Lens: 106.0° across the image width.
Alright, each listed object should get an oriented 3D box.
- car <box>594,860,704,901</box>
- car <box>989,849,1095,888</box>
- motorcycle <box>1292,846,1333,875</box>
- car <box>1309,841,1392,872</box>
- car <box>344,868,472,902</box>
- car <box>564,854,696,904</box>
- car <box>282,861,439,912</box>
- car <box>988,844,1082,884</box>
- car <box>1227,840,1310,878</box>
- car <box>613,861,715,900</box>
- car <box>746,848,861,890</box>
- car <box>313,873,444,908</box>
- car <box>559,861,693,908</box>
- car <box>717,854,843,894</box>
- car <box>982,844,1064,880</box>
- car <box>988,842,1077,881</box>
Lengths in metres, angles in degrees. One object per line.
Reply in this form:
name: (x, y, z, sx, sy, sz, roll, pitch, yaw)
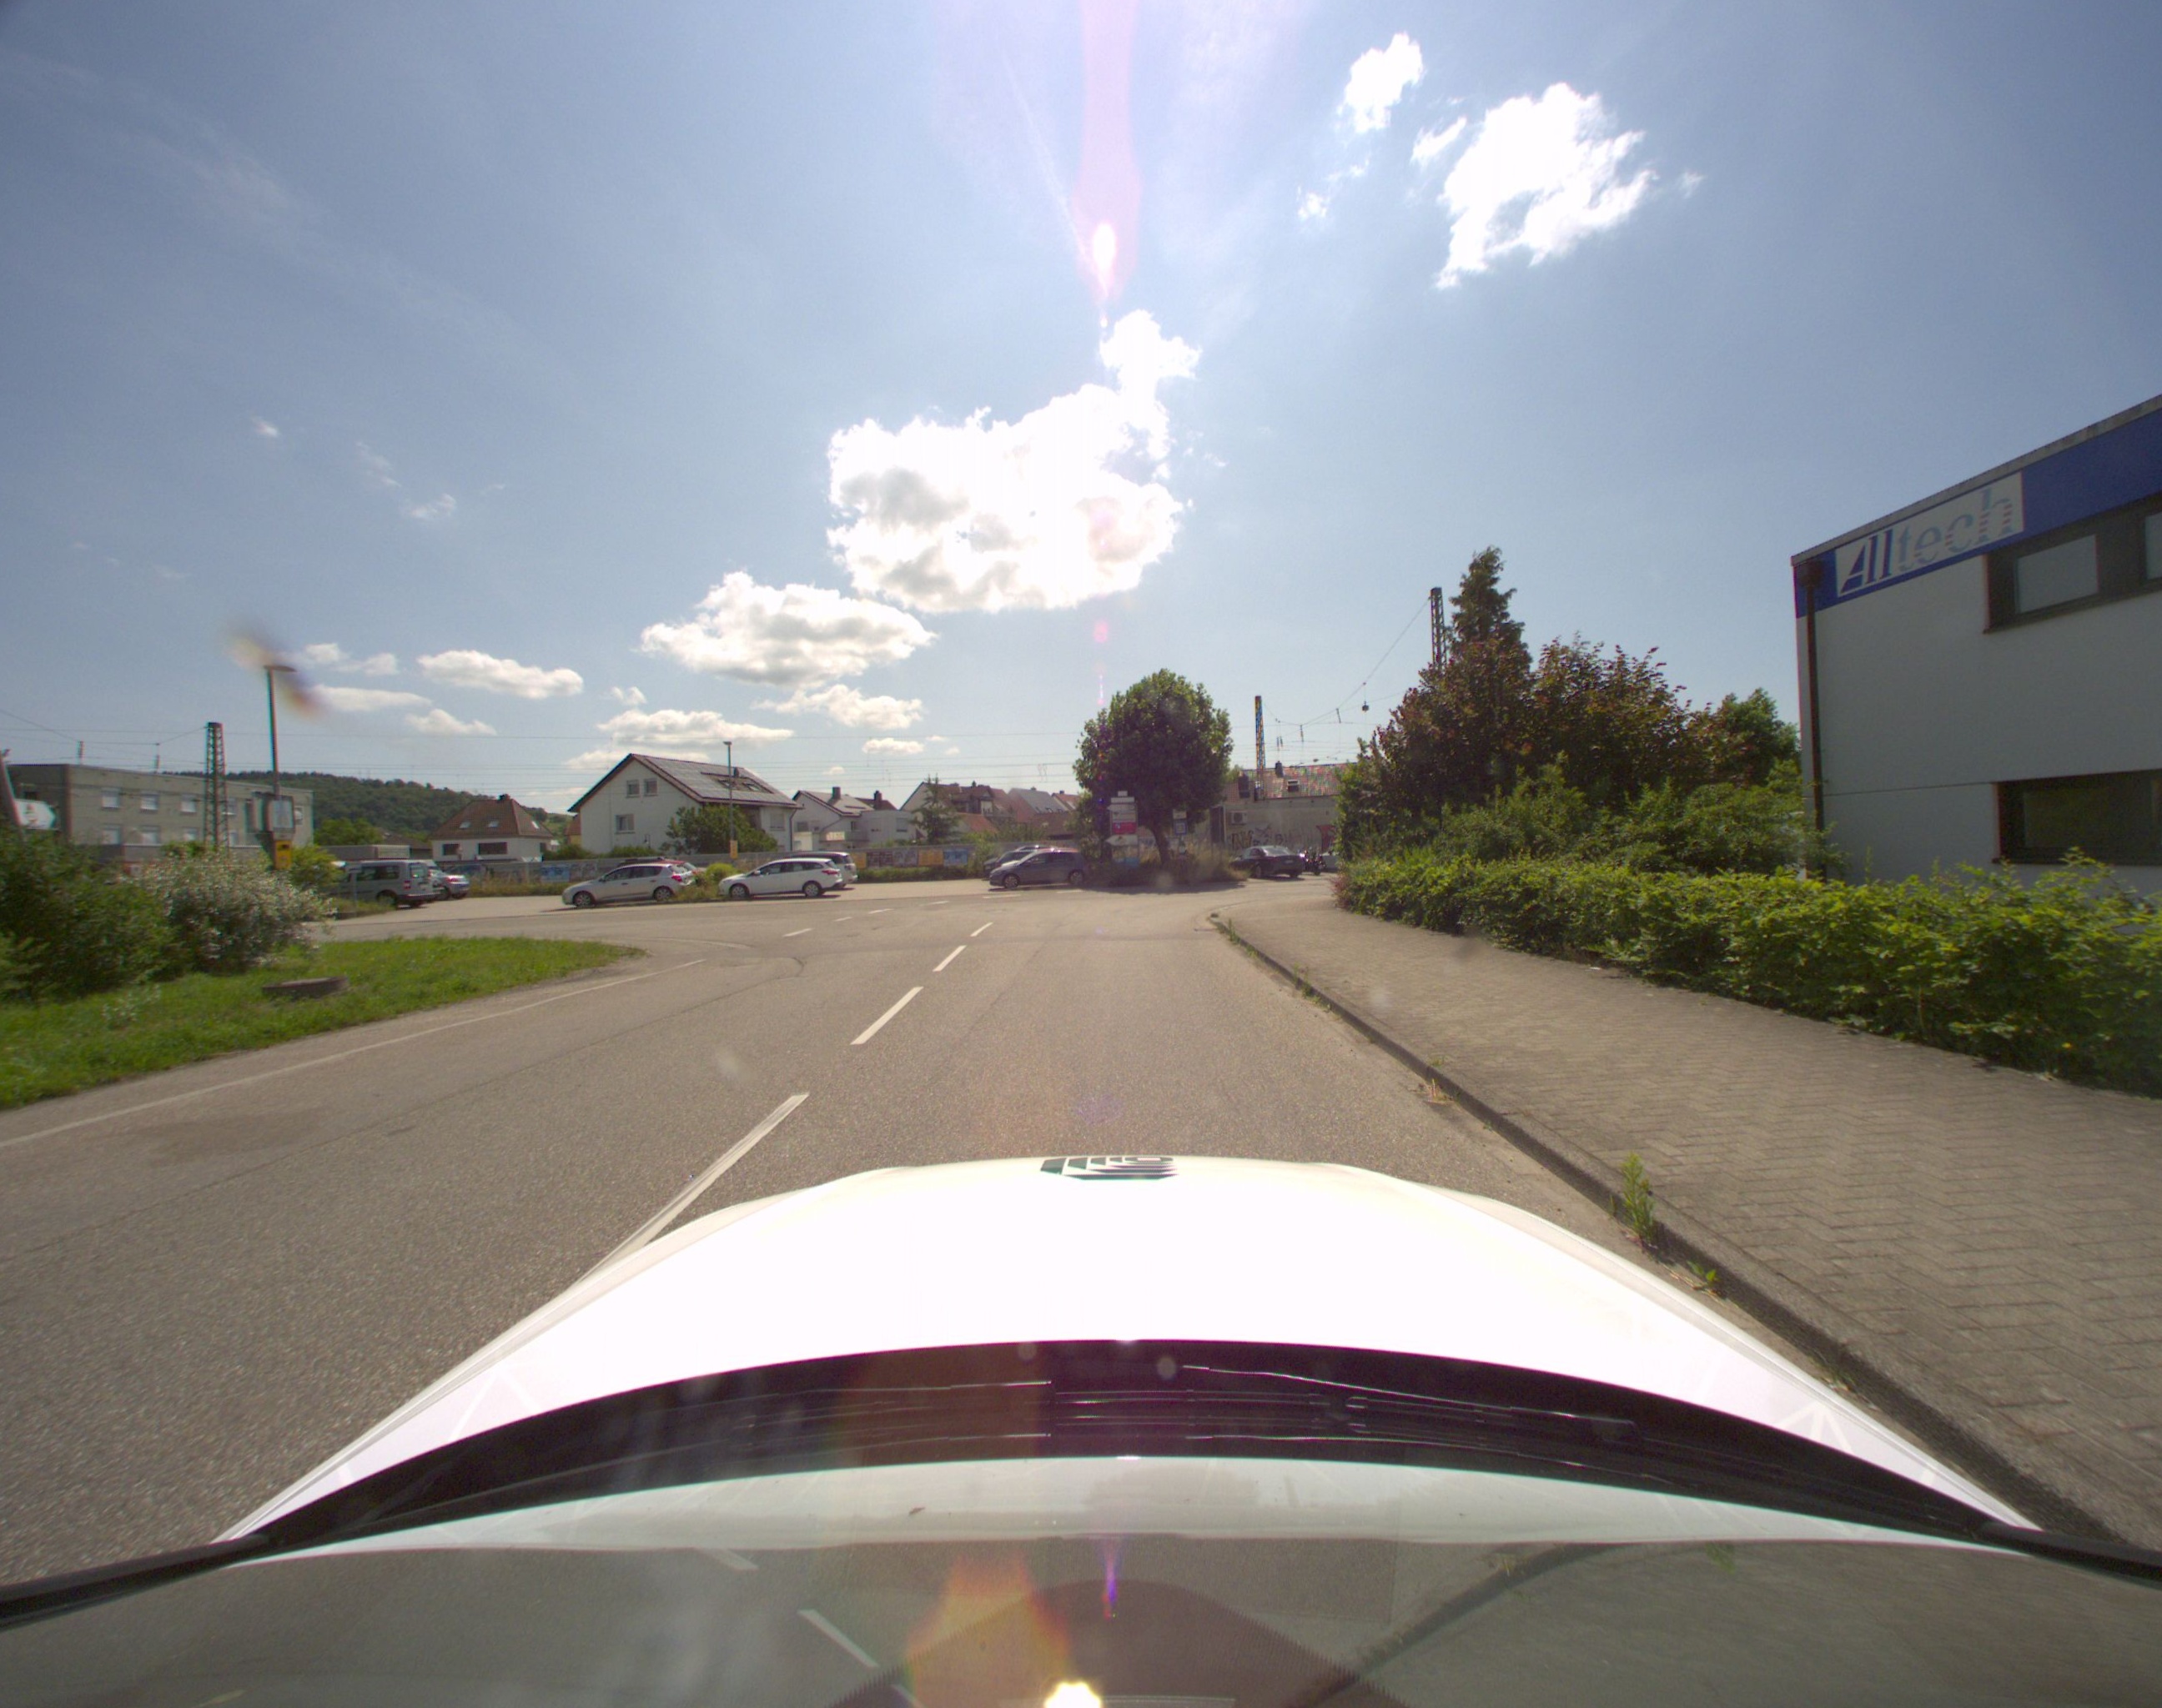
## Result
car: (-18.487, 1.112, 35.011, 3.785, 1.558, 1.687, -2, 0, -12)
car: (-1.619, 0.570, 33.089, 4.183, 1.463, 1.661, -1, -1, -7)
motorcycle: (10.452, 0.281, 36.908, 0.898, 1.228, 1.987, -2, 2, -14)
car: (12.594, 0.069, 38.333, 1.707, 1.377, 4.091, -1, 1, -17)
car: (-29.177, 1.342, 35.417, 3.983, 1.420, 1.680, 0, -1, -7)
car: (-17.844, 0.955, 32.439, 4.168, 1.638, 1.945, -4, 0, -15)
car: (-27.179, 1.184, 30.857, 3.987, 1.815, 1.899, 0, 1, -10)
car: (-2.057, 0.438, 35.719, 3.984, 1.586, 1.775, -2, -1, -8)
car: (8.216, 0.176, 36.010, 1.757, 1.385, 3.977, -1, 3, -18)
car: (-19.044, 1.178, 37.352, 3.836, 1.589, 1.490, -2, 0, -14)
car: (-12.211, 0.643, 36.092, 4.447, 1.690, 1.996, -1, 1, -7)
car: (-28.572, 1.461, 33.205, 3.657, 1.222, 1.669, -2, 0, -8)
car: (-16.883, 1.105, 30.425, 4.009, 1.562, 1.812, -2, 0, -16)
car: (-11.476, 0.762, 31.313, 4.283, 1.477, 1.821, 0, -1, -10)
car: (-2.903, 0.383, 40.491, 3.984, 1.730, 1.765, 0, -1, -8)
car: (-2.324, 0.336, 38.141, 3.984, 1.657, 1.995, -2, 0, -8)
